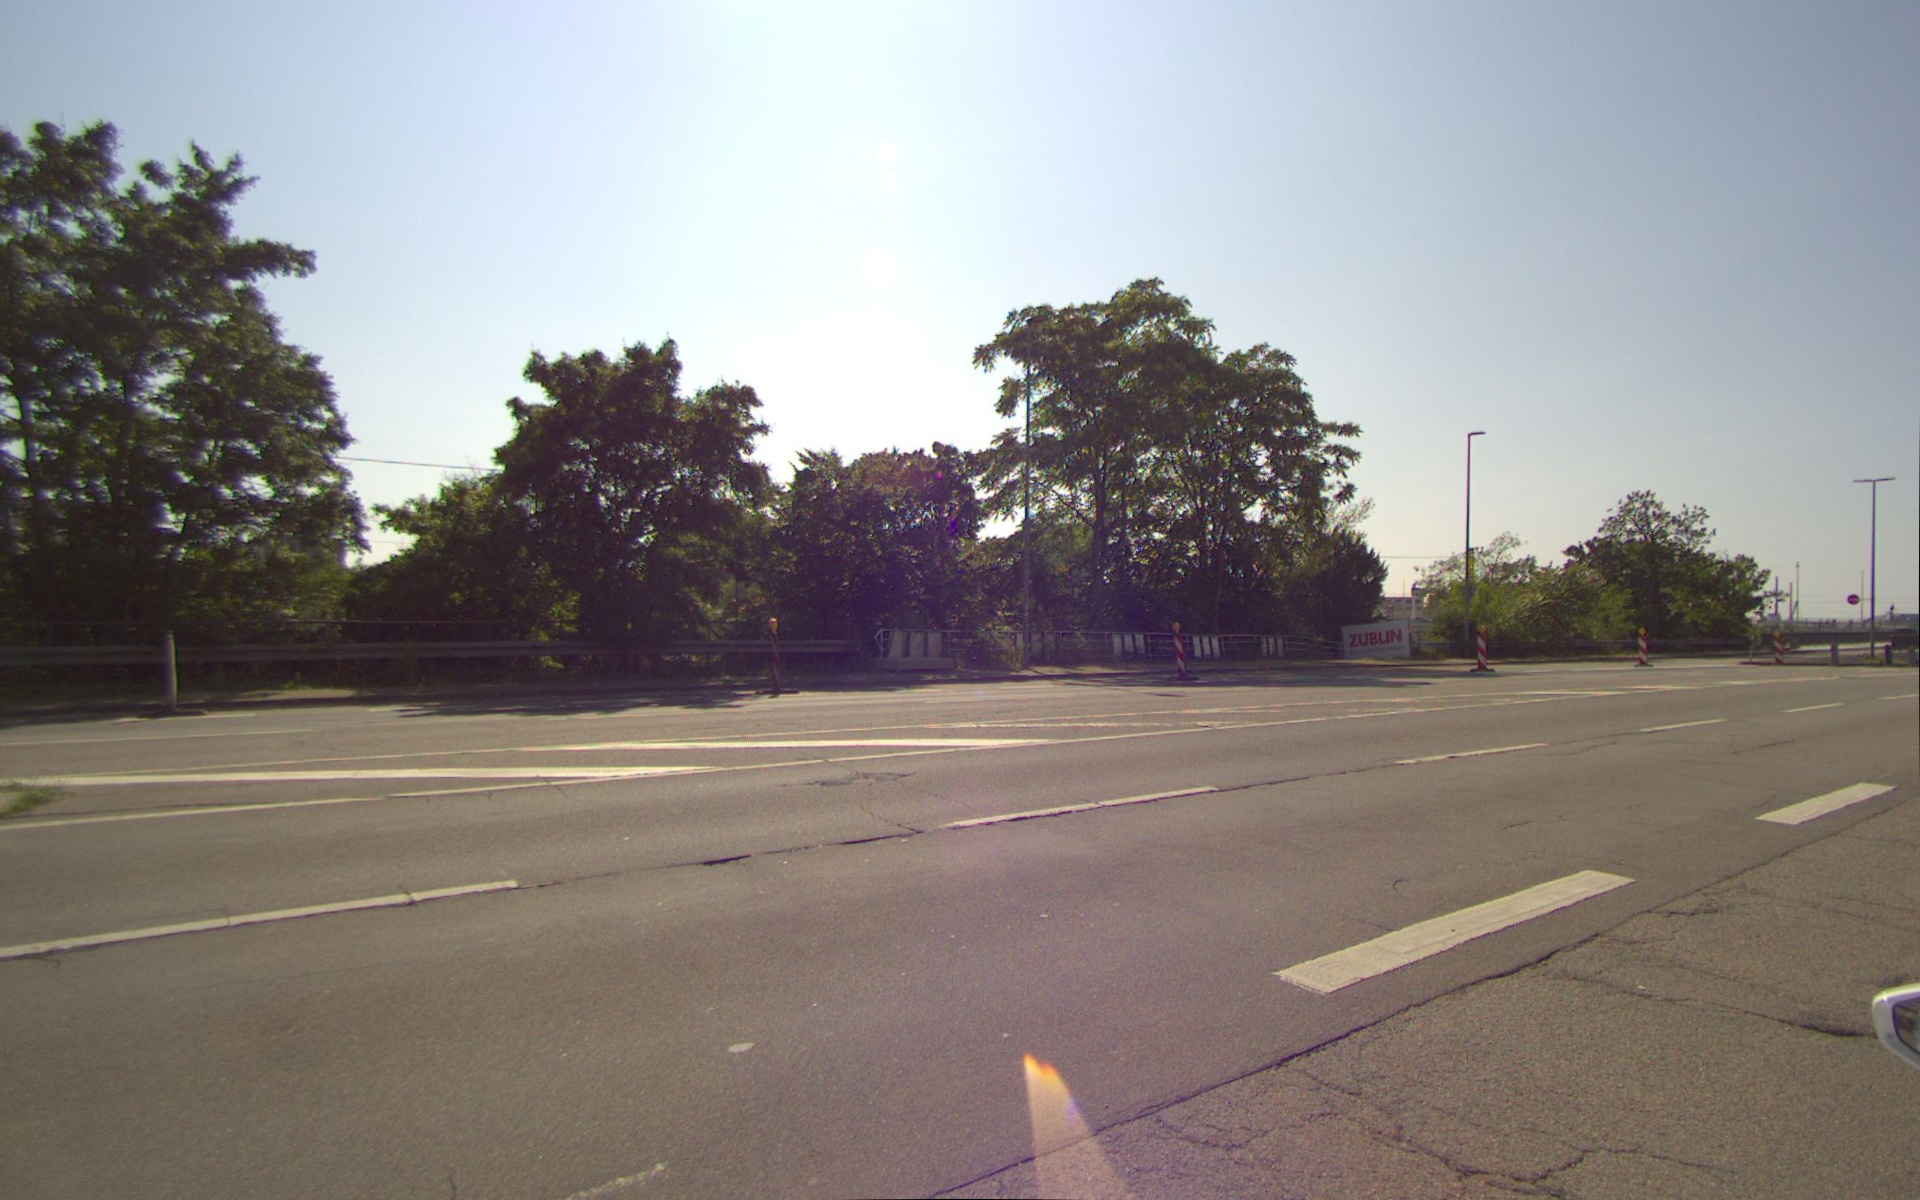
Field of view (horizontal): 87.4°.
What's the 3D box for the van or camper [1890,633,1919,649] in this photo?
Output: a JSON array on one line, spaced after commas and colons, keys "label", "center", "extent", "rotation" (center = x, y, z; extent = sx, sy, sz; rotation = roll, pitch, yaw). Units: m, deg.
[{"label": "van or camper", "center": [82.248, 3.553, 87.141], "extent": [4.588, 1.368, 1.456], "rotation": [2, -1, -37]}]
